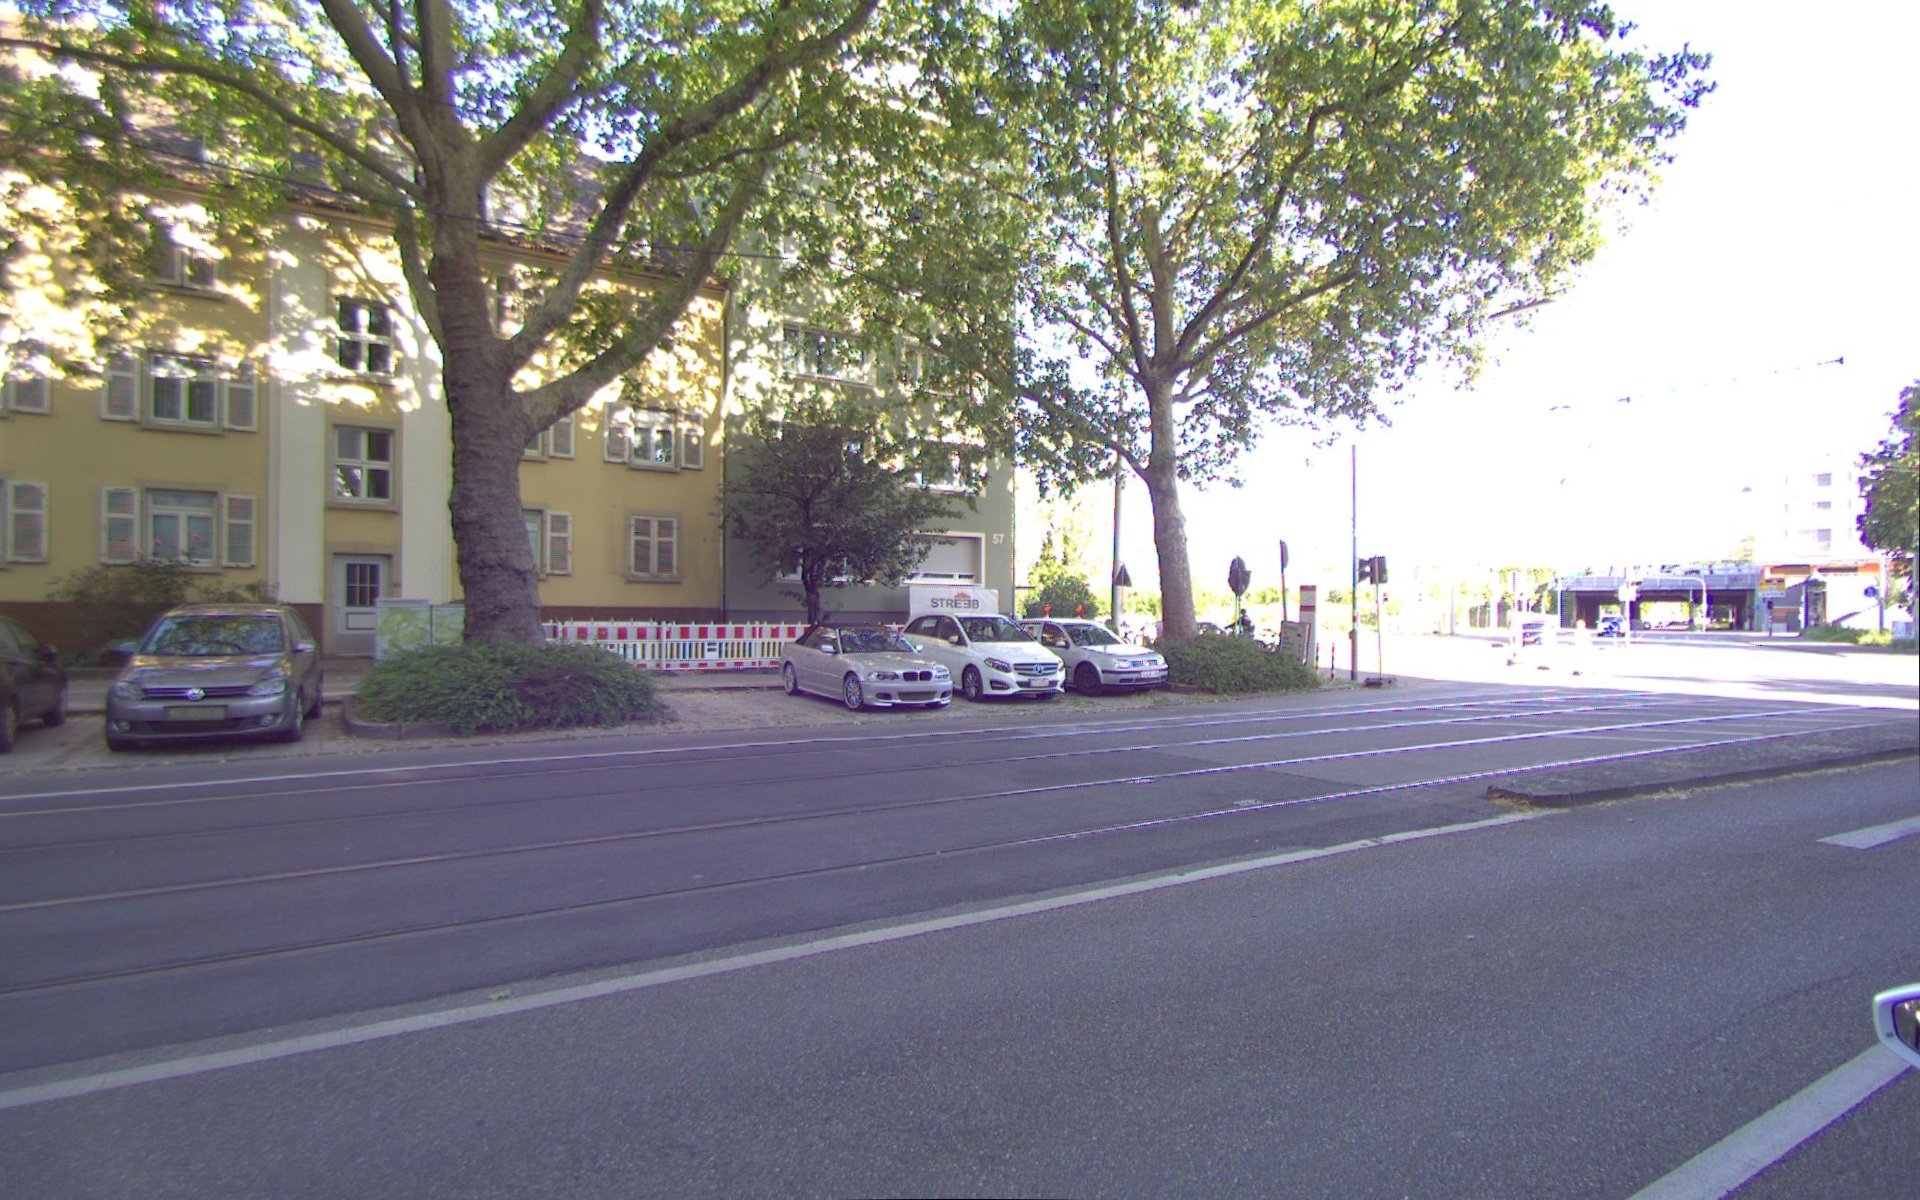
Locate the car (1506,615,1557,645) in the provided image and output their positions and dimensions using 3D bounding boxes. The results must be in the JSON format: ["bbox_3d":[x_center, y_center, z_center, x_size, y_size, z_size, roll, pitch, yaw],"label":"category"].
[{"bbox_3d":[32.422,1.683,56.942,1.803,1.539,3.876,2,1,40],"label":"car"}]

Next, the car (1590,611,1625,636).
[{"bbox_3d":[51.225,1.848,79.549,2.181,1.847,4.138,0,-1,31],"label":"car"}]

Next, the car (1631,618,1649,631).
[{"bbox_3d":[90.206,3.217,133.290,1.967,1.623,4.234,0,-1,34],"label":"car"}]

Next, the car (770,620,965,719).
[{"bbox_3d":[-1.738,1.094,17.437,1.708,1.386,4.219,1,0,-31],"label":"car"}]

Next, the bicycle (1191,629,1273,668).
[{"bbox_3d":[7.887,1.391,29.173,2.163,1.047,0.831,0,-1,38],"label":"bicycle"}]

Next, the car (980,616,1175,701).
[{"bbox_3d":[2.291,1.109,20.825,1.656,1.448,4.490,1,0,-30],"label":"car"}]

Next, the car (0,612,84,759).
[{"bbox_3d":[-11.402,0.880,11.299,1.723,1.448,3.545,1,0,-31],"label":"car"}]

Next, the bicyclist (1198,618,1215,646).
[{"bbox_3d":[14.449,1.876,58.924,0.848,1.616,0.648,0,-1,28],"label":"bicyclist"}]

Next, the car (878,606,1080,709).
[{"bbox_3d":[0.212,0.994,19.481,1.777,1.640,4.587,1,1,-30],"label":"car"}]

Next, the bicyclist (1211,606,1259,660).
[{"bbox_3d":[7.957,0.948,29.078,1.099,1.540,0.918,0,-1,38],"label":"bicyclist"}]

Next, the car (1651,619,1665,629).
[{"bbox_3d":[132.873,4.522,191.261,1.966,1.973,4.488,0,-1,32],"label":"car"}]

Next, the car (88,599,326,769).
[{"bbox_3d":[-9.045,0.859,12.427,1.793,1.627,4.169,1,1,-29],"label":"car"}]
